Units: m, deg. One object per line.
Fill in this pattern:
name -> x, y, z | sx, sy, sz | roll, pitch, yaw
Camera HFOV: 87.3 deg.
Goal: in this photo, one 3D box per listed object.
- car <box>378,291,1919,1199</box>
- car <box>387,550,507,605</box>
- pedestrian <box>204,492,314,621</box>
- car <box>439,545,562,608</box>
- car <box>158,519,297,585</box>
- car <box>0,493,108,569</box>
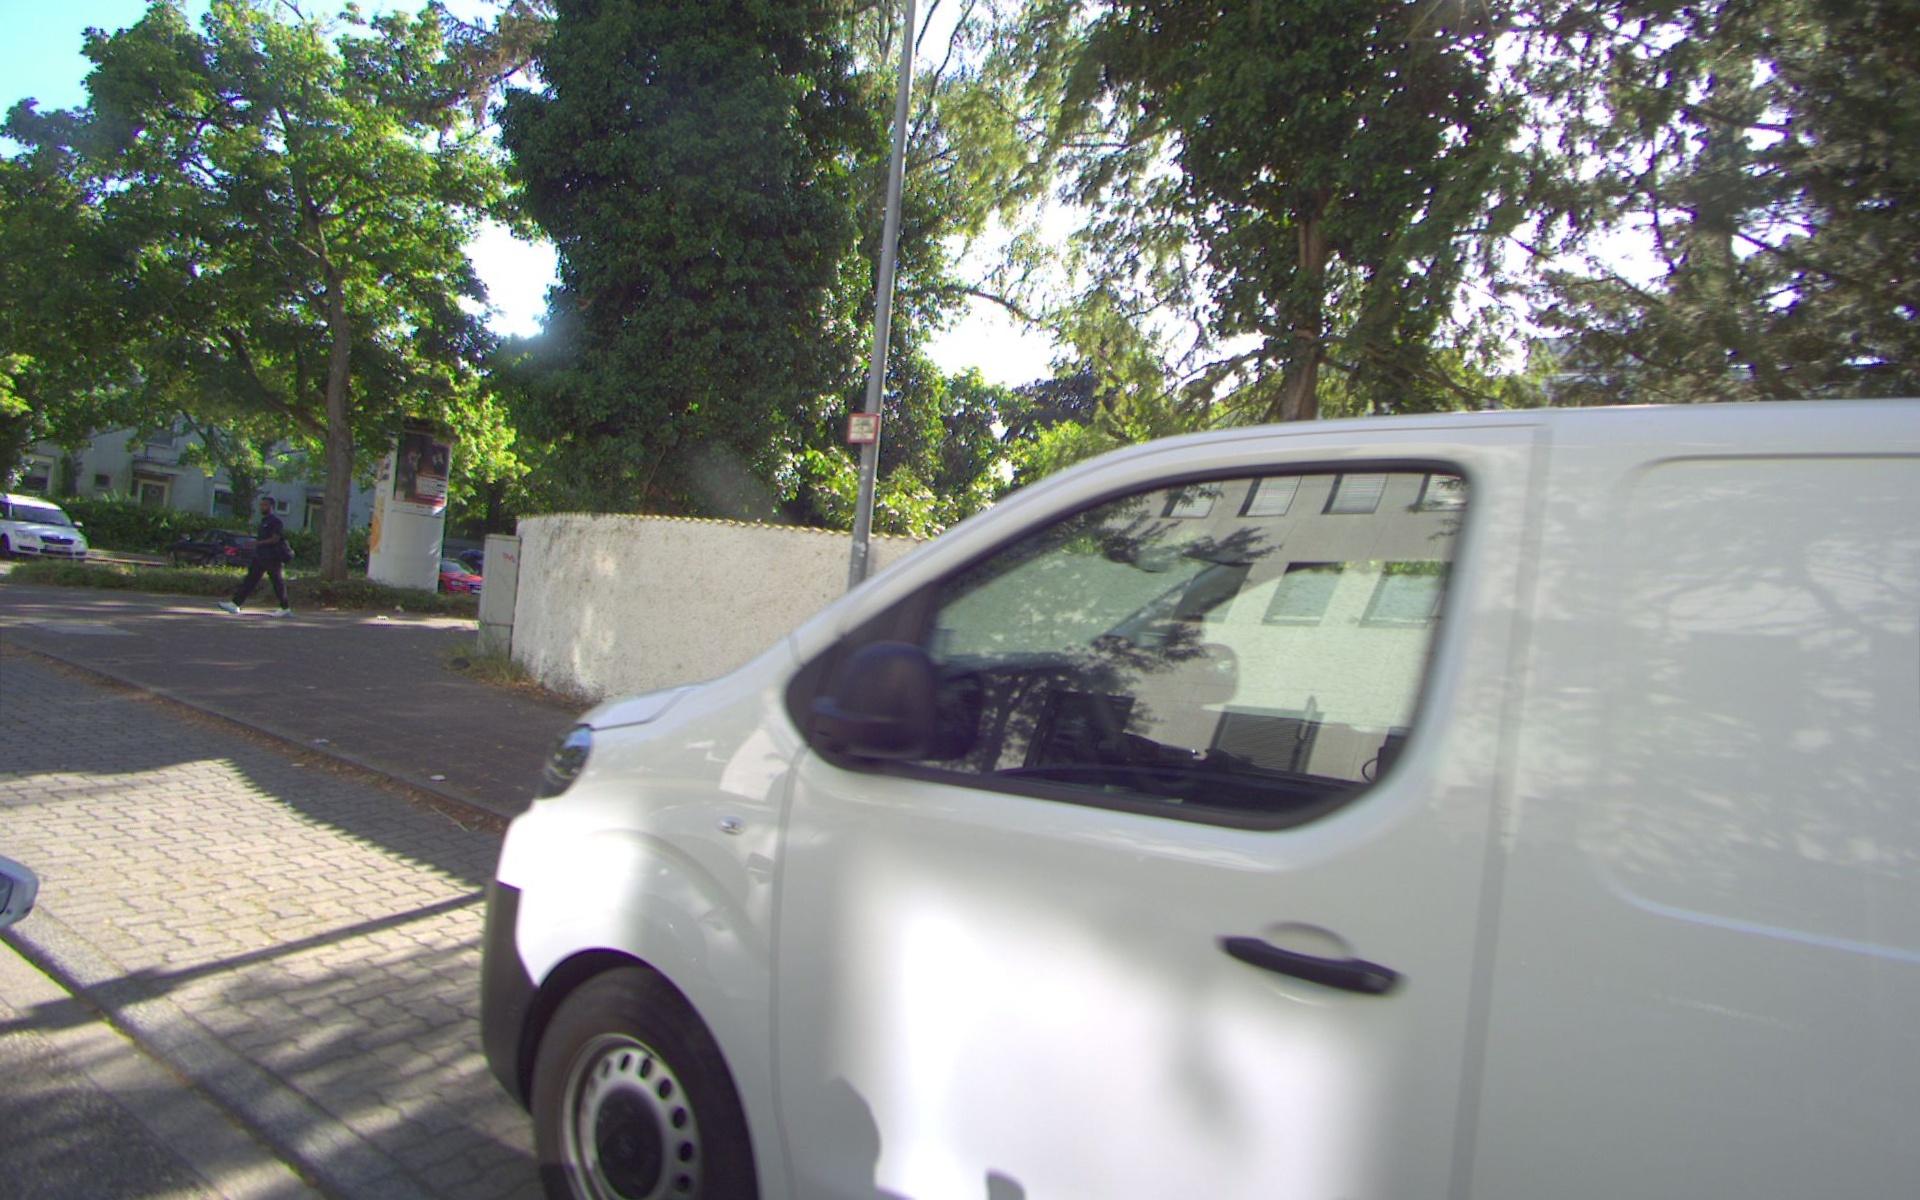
car -> 1.332, 0.716, 1.831 | 5.063, 1.938, 1.900 | 6, 1, 32
car -> -18.614, -0.816, 36.487 | 4.097, 1.423, 1.826 | 8, 1, 30
pedestrian -> -10.022, -0.600, 14.405 | 0.823, 1.705, 0.807 | 7, 1, 1
car -> -17.712, -0.923, 38.716 | 4.585, 1.794, 1.826 | 8, 1, 30
car -> -22.250, -1.468, 30.541 | 4.097, 1.423, 1.826 | 8, 1, 30
car -> -24.765, -1.903, 26.752 | 4.097, 1.618, 1.826 | 8, 1, 30
